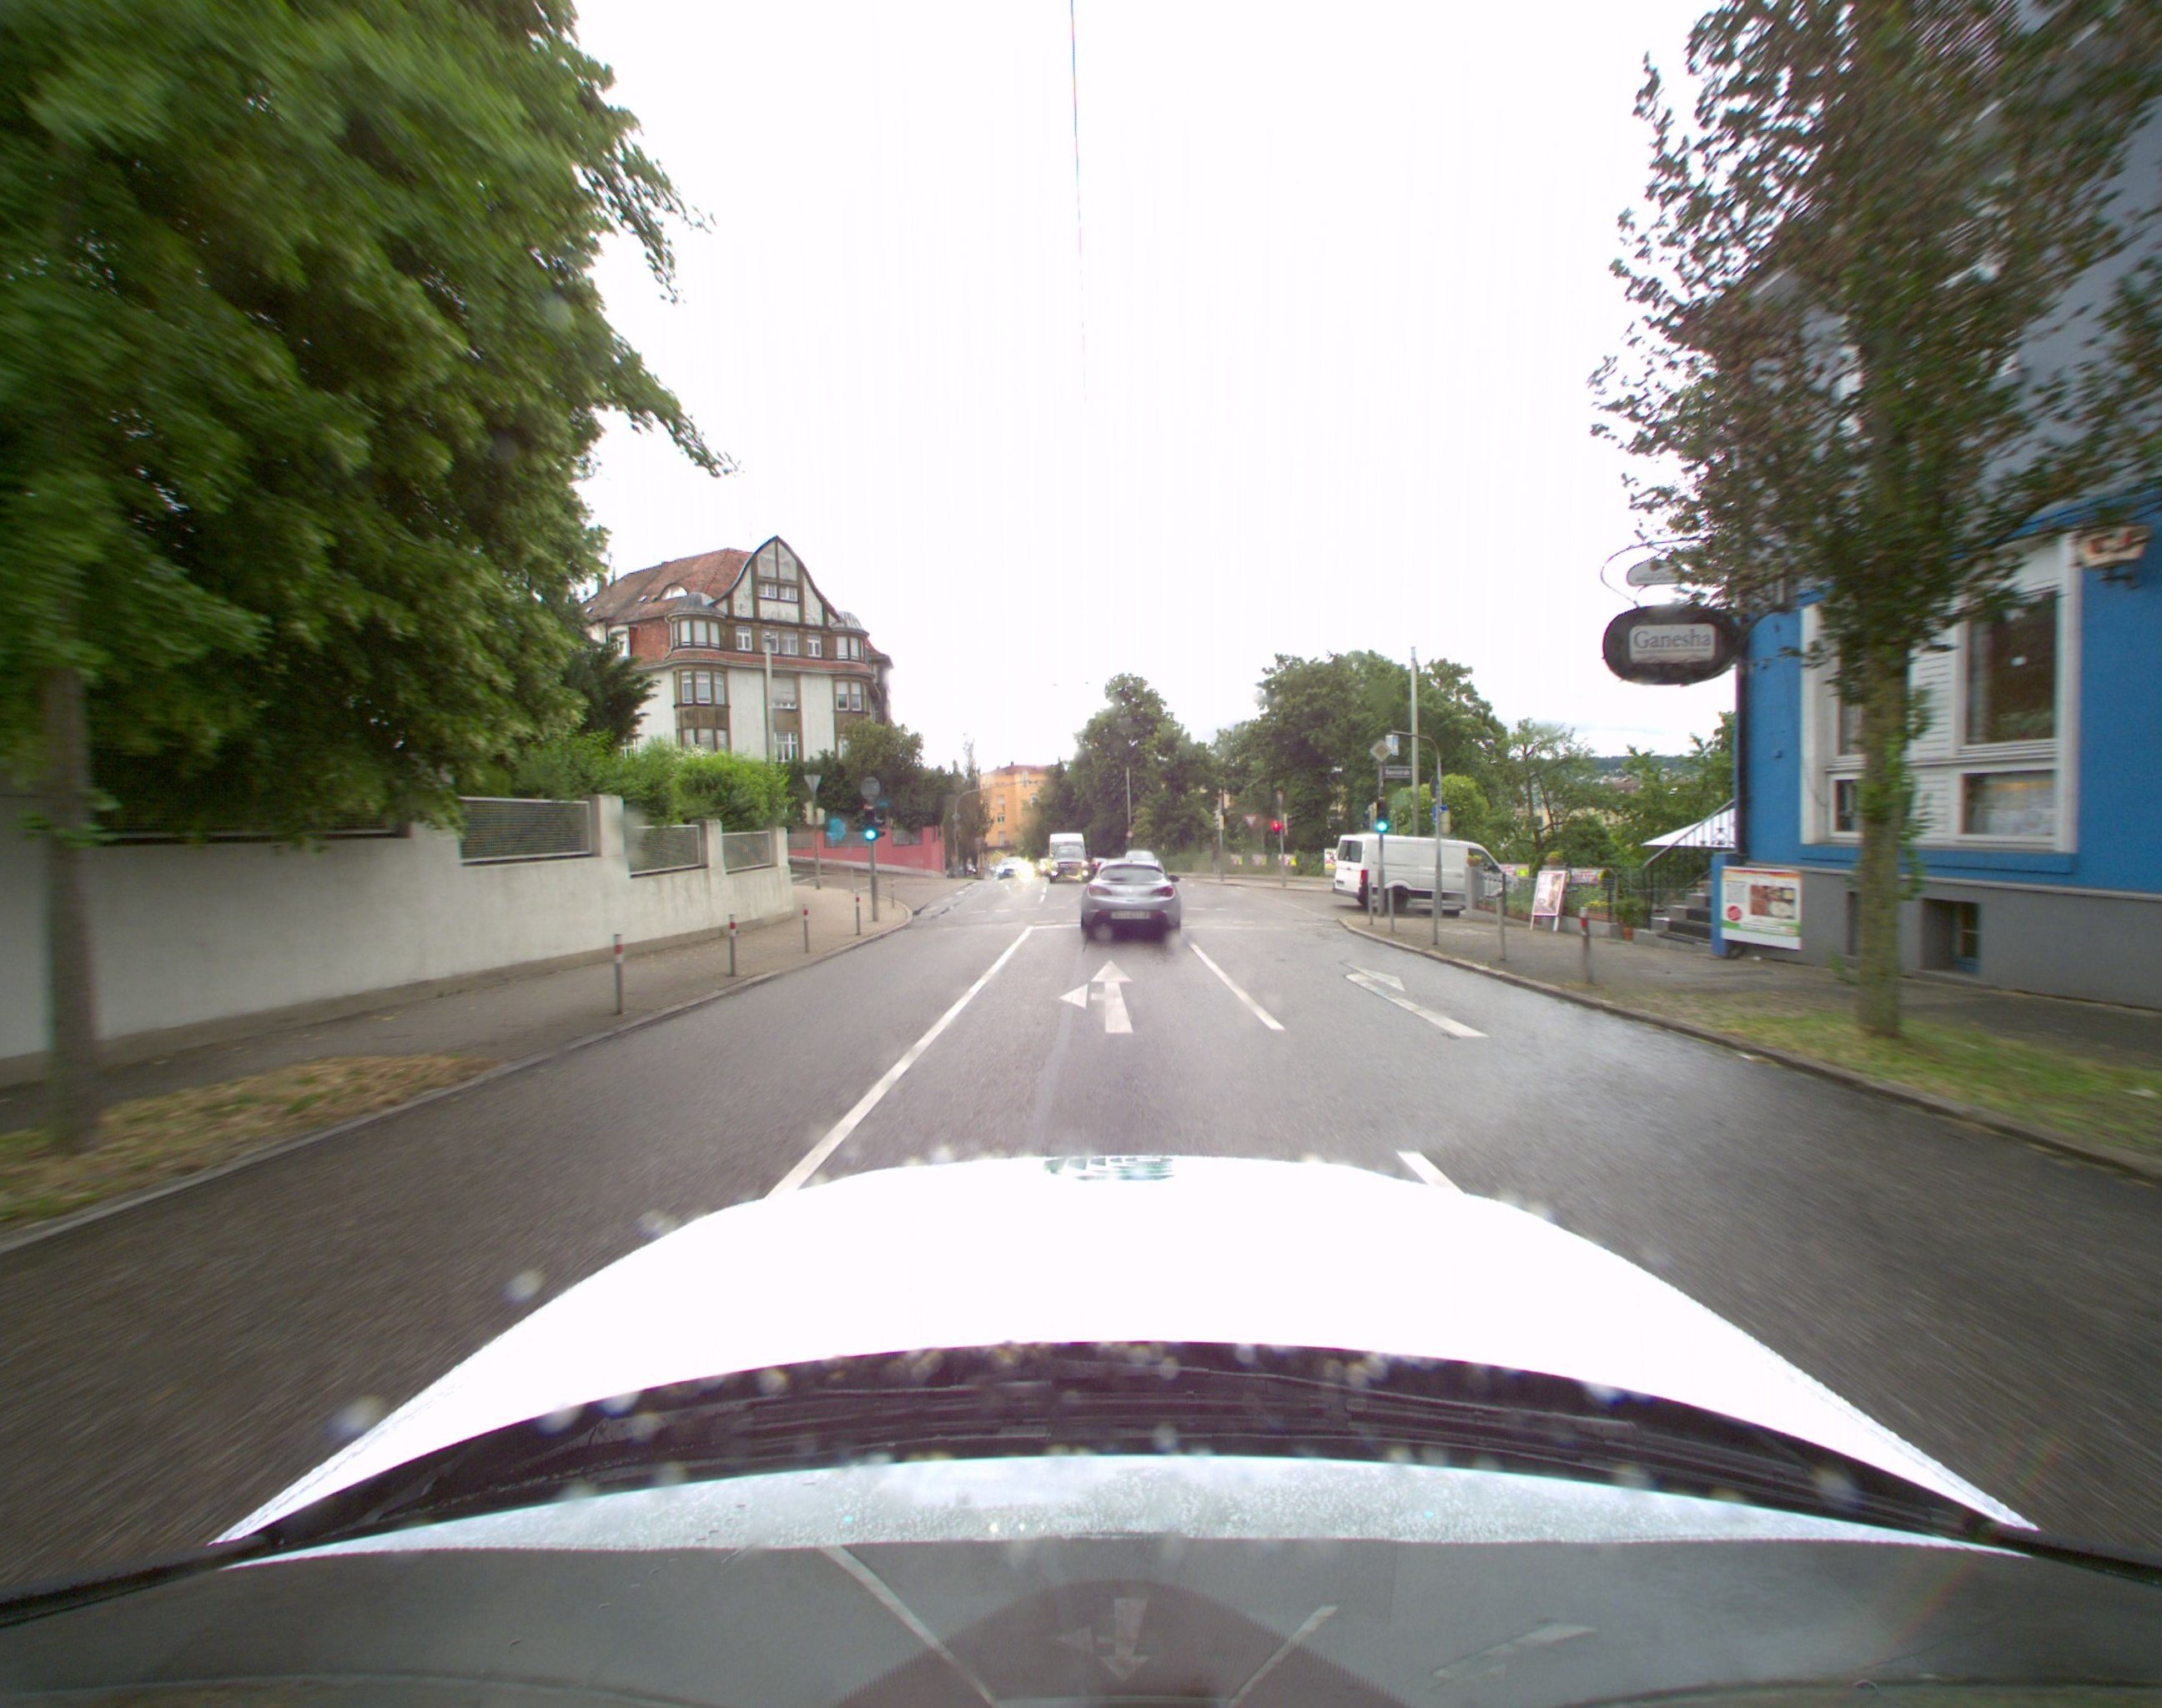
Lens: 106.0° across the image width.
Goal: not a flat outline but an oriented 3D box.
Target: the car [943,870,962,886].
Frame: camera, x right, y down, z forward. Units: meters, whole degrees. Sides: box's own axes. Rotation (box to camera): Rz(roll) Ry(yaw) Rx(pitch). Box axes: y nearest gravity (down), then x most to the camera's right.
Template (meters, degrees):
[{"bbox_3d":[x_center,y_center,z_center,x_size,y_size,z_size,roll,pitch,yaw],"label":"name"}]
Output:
[{"bbox_3d":[-13.660,2.573,86.168,1.816,1.612,3.984,0,-2,-11],"label":"car"}]

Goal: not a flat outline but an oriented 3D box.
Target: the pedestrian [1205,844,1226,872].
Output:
[{"bbox_3d":[8.074,0.265,48.885,0.767,1.605,0.961,-4,-1,-14],"label":"pedestrian"}]

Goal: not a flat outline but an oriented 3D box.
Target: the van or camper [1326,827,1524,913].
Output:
[{"bbox_3d":[10.811,0.491,25.761,5.399,2.325,2.104,3,1,-10],"label":"van or camper"}]

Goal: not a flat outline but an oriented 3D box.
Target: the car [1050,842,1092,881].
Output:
[{"bbox_3d":[-0.466,0.319,37.529,1.816,1.652,4.344,-1,0,-1],"label":"car"}]

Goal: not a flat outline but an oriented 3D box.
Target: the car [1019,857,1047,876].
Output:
[{"bbox_3d":[-3.872,1.015,65.726,1.774,1.497,4.247,0,-2,-10],"label":"car"}]

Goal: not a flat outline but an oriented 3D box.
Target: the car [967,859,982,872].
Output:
[{"bbox_3d":[-17.204,1.857,131.336,1.785,1.855,3.979,-1,-2,-15],"label":"car"}]

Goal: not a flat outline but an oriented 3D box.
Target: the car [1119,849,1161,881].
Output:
[{"bbox_3d":[2.822,0.570,39.758,1.770,1.430,3.785,-2,-2,1],"label":"car"}]

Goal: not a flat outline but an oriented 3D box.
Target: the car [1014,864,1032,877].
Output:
[{"bbox_3d":[-7.252,2.004,101.016,1.641,1.536,3.700,-2,-1,-12],"label":"car"}]

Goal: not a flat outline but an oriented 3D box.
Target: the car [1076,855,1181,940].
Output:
[{"bbox_3d":[0.884,0.768,16.292,1.808,1.430,4.001,-1,0,1],"label":"car"}]

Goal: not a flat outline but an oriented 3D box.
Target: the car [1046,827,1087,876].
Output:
[{"bbox_3d":[-0.858,-0.077,46.190,2.112,2.546,5.535,-2,-1,-2],"label":"car"}]

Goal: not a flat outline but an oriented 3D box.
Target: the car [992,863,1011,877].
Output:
[{"bbox_3d":[-9.442,1.863,96.585,1.846,1.584,4.261,1,-1,-12],"label":"car"}]

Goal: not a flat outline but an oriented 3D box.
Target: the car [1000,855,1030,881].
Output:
[{"bbox_3d":[-4.290,0.861,53.446,1.849,1.486,5.359,-2,1,-4],"label":"car"}]

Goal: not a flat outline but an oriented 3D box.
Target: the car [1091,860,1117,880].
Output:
[{"bbox_3d":[1.672,1.191,60.688,1.382,1.412,3.447,-3,0,-8],"label":"car"}]
